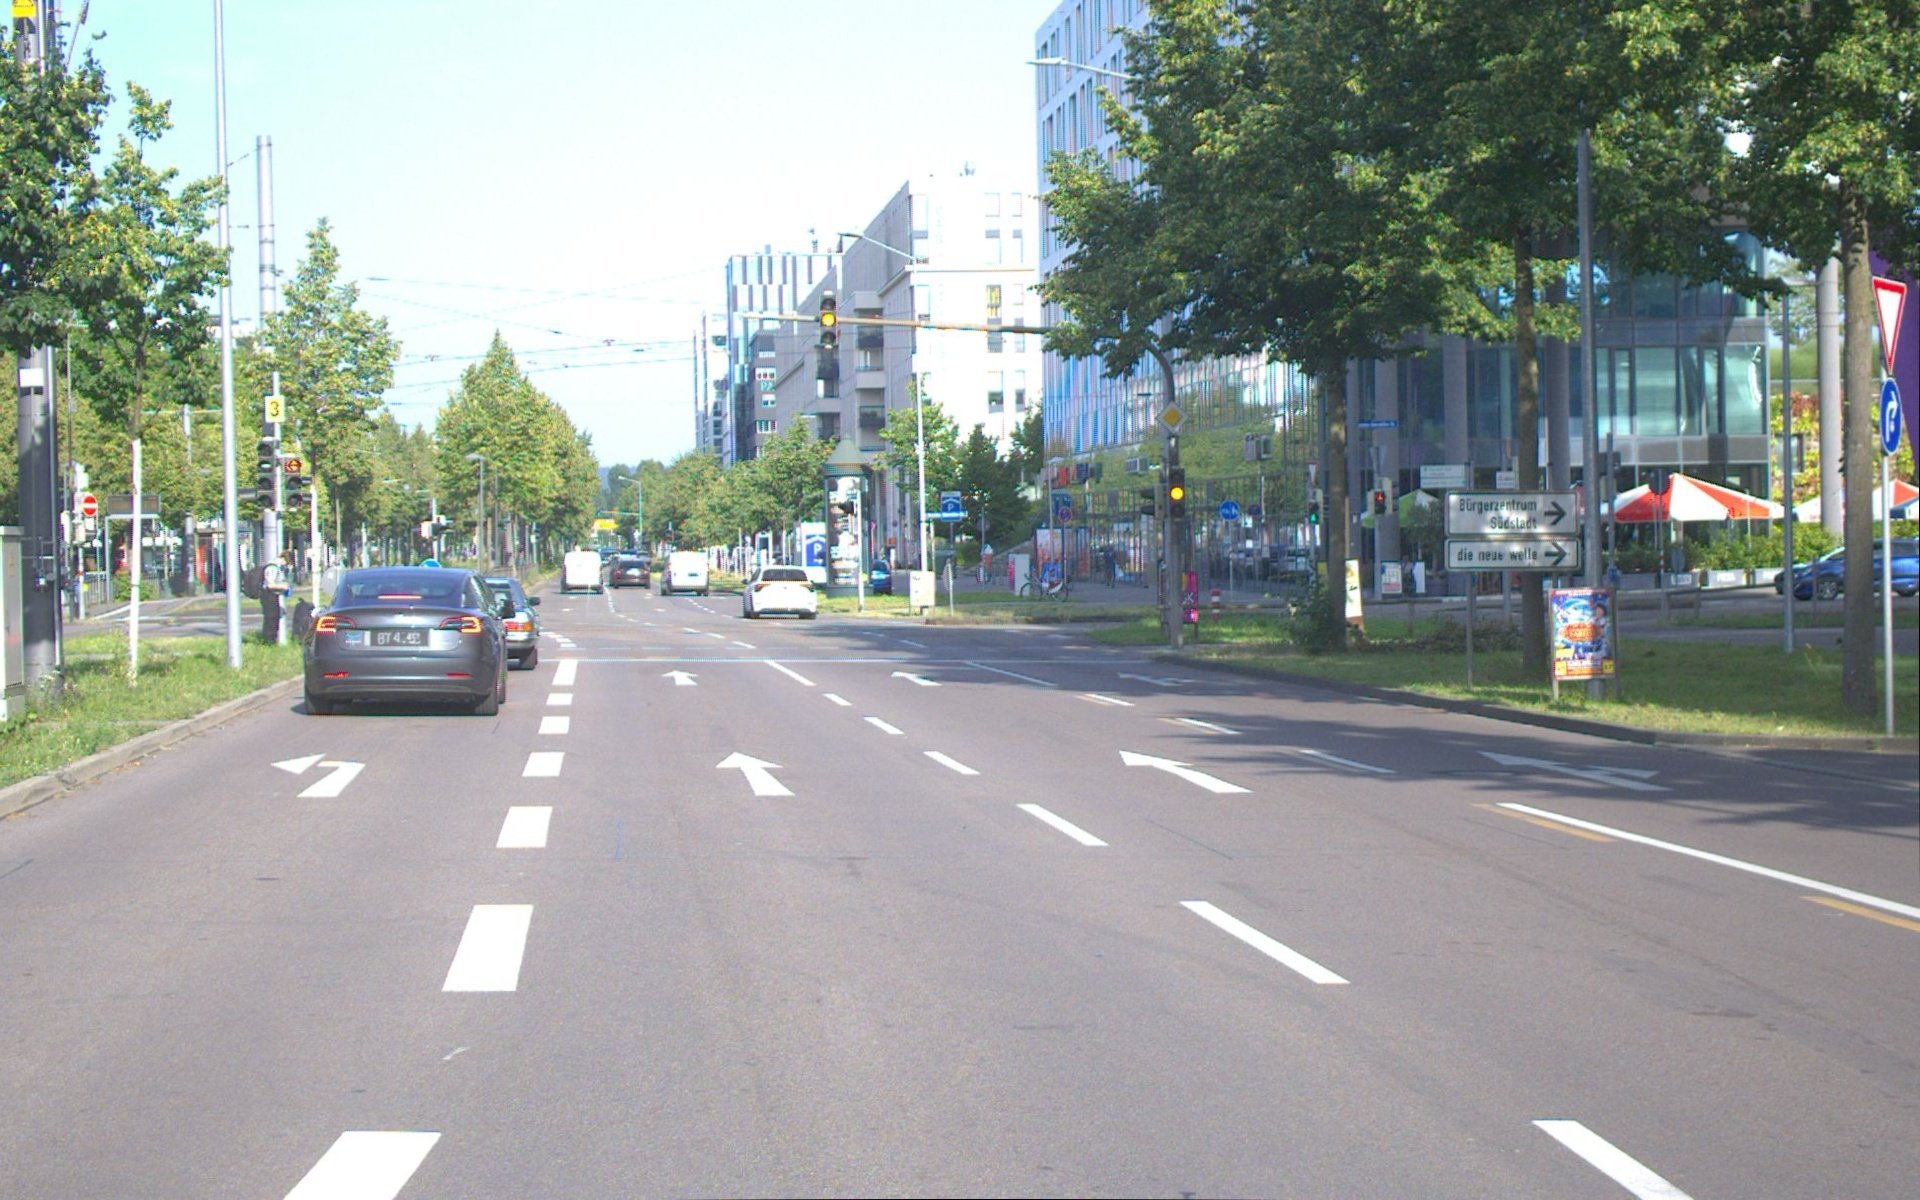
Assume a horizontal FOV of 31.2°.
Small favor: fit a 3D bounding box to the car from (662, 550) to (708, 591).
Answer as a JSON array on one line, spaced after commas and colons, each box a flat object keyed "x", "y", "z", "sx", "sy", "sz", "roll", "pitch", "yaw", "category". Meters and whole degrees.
[{"x": -11.619, "y": -1.256, "z": 145.083, "sx": 1.864, "sy": 1.678, "sz": 4.001, "roll": 1, "pitch": 1, "yaw": -5, "category": "car"}]

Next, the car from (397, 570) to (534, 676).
[{"x": -6.851, "y": 0.289, "z": 47.962, "sx": 1.763, "sy": 1.325, "sz": 4.401, "roll": 1, "pitch": 1, "yaw": -7, "category": "car"}]

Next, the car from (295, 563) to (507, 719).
[{"x": -5.465, "y": 0.364, "z": 34.044, "sx": 1.889, "sy": 1.381, "sz": 4.336, "roll": 1, "pitch": 1, "yaw": -7, "category": "car"}]

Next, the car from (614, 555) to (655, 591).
[{"x": -15.901, "y": -1.336, "z": 168.019, "sx": 1.923, "sy": 1.678, "sz": 4.001, "roll": 1, "pitch": 1, "yaw": -5, "category": "car"}]

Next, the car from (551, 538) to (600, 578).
[{"x": -16.701, "y": -1.853, "z": 149.374, "sx": 2.014, "sy": 1.678, "sz": 4.001, "roll": 1, "pitch": 1, "yaw": -5, "category": "car"}]

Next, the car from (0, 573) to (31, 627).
[{"x": -28.695, "y": 0.019, "z": 100.998, "sx": 1.993, "sy": 1.499, "sz": 4.094, "roll": -2, "pitch": 1, "yaw": -6, "category": "car"}]

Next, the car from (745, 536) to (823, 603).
[{"x": -4.679, "y": -0.822, "z": 90.859, "sx": 1.864, "sy": 1.678, "sz": 4.001, "roll": 1, "pitch": 1, "yaw": -5, "category": "car"}]

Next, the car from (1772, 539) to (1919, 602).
[{"x": 22.221, "y": -0.732, "z": 84.106, "sx": 4.183, "sy": 1.419, "sz": 1.859, "roll": -1, "pitch": 1, "yaw": -6, "category": "car"}]

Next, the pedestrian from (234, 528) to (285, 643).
[{"x": -10.973, "y": -0.231, "z": 53.852, "sx": 0.699, "sy": 1.786, "sz": 0.635, "roll": 1, "pitch": 0, "yaw": -5, "category": "pedestrian"}]

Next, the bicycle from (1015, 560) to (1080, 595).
[{"x": 2.622, "y": -0.677, "z": 103.163, "sx": 1.877, "sy": 1.029, "sz": 0.772, "roll": 0, "pitch": 1, "yaw": 41, "category": "bicycle"}]
